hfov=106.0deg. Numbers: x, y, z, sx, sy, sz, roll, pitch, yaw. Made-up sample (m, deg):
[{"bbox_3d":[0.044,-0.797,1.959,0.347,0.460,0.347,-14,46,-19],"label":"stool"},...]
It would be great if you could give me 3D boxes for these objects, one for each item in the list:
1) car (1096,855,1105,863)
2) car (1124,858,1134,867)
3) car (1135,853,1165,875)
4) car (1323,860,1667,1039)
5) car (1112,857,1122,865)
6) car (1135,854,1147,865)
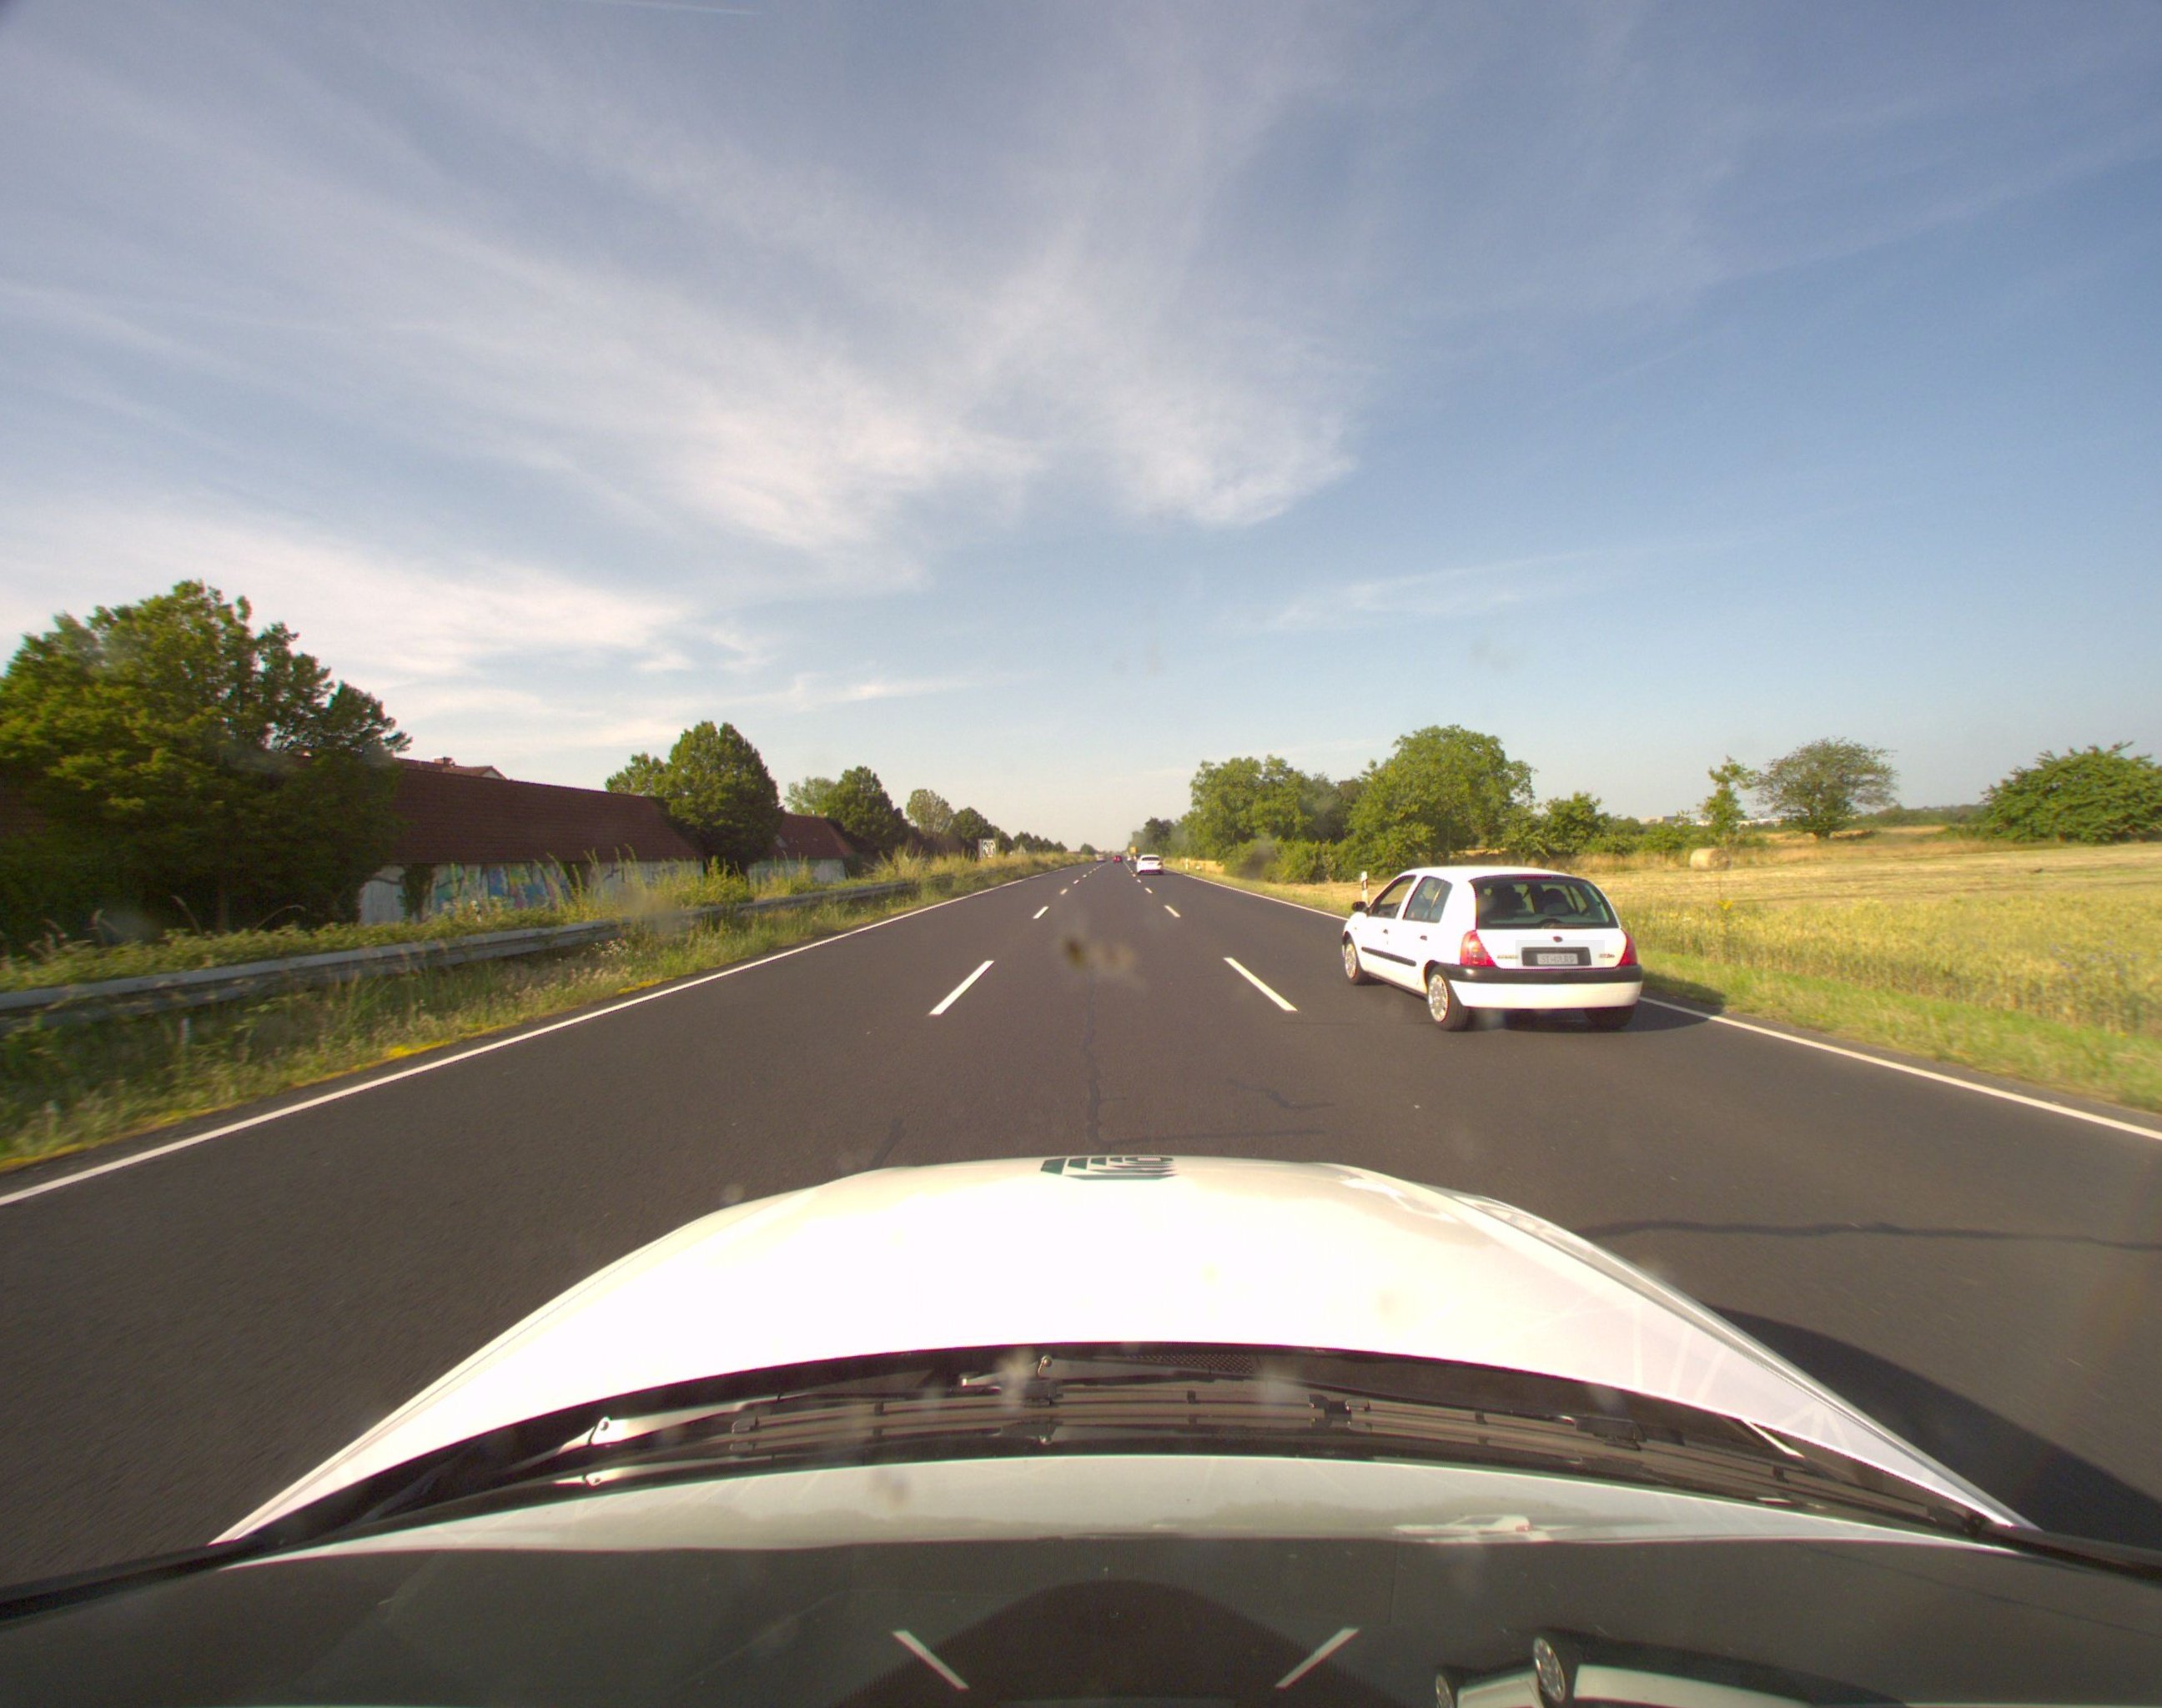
[{"bbox_3d":[4.276,1.039,177.790,1.750,1.618,4.004,0,-1,4],"label":"car"},{"bbox_3d":[9.750,1.745,165.289,1.826,1.717,3.865,0,-1,3],"label":"car"},{"bbox_3d":[4.906,0.757,58.436,1.985,1.516,4.002,0,-1,2],"label":"car"},{"bbox_3d":[3.810,0.780,8.328,1.611,1.387,3.953,0,-1,2],"label":"car"},{"bbox_3d":[6.790,1.294,153.292,1.805,1.436,3.859,0,-1,2],"label":"car"},{"bbox_3d":[9.360,0.851,127.470,1.821,1.728,4.002,0,-1,2],"label":"car"}]
